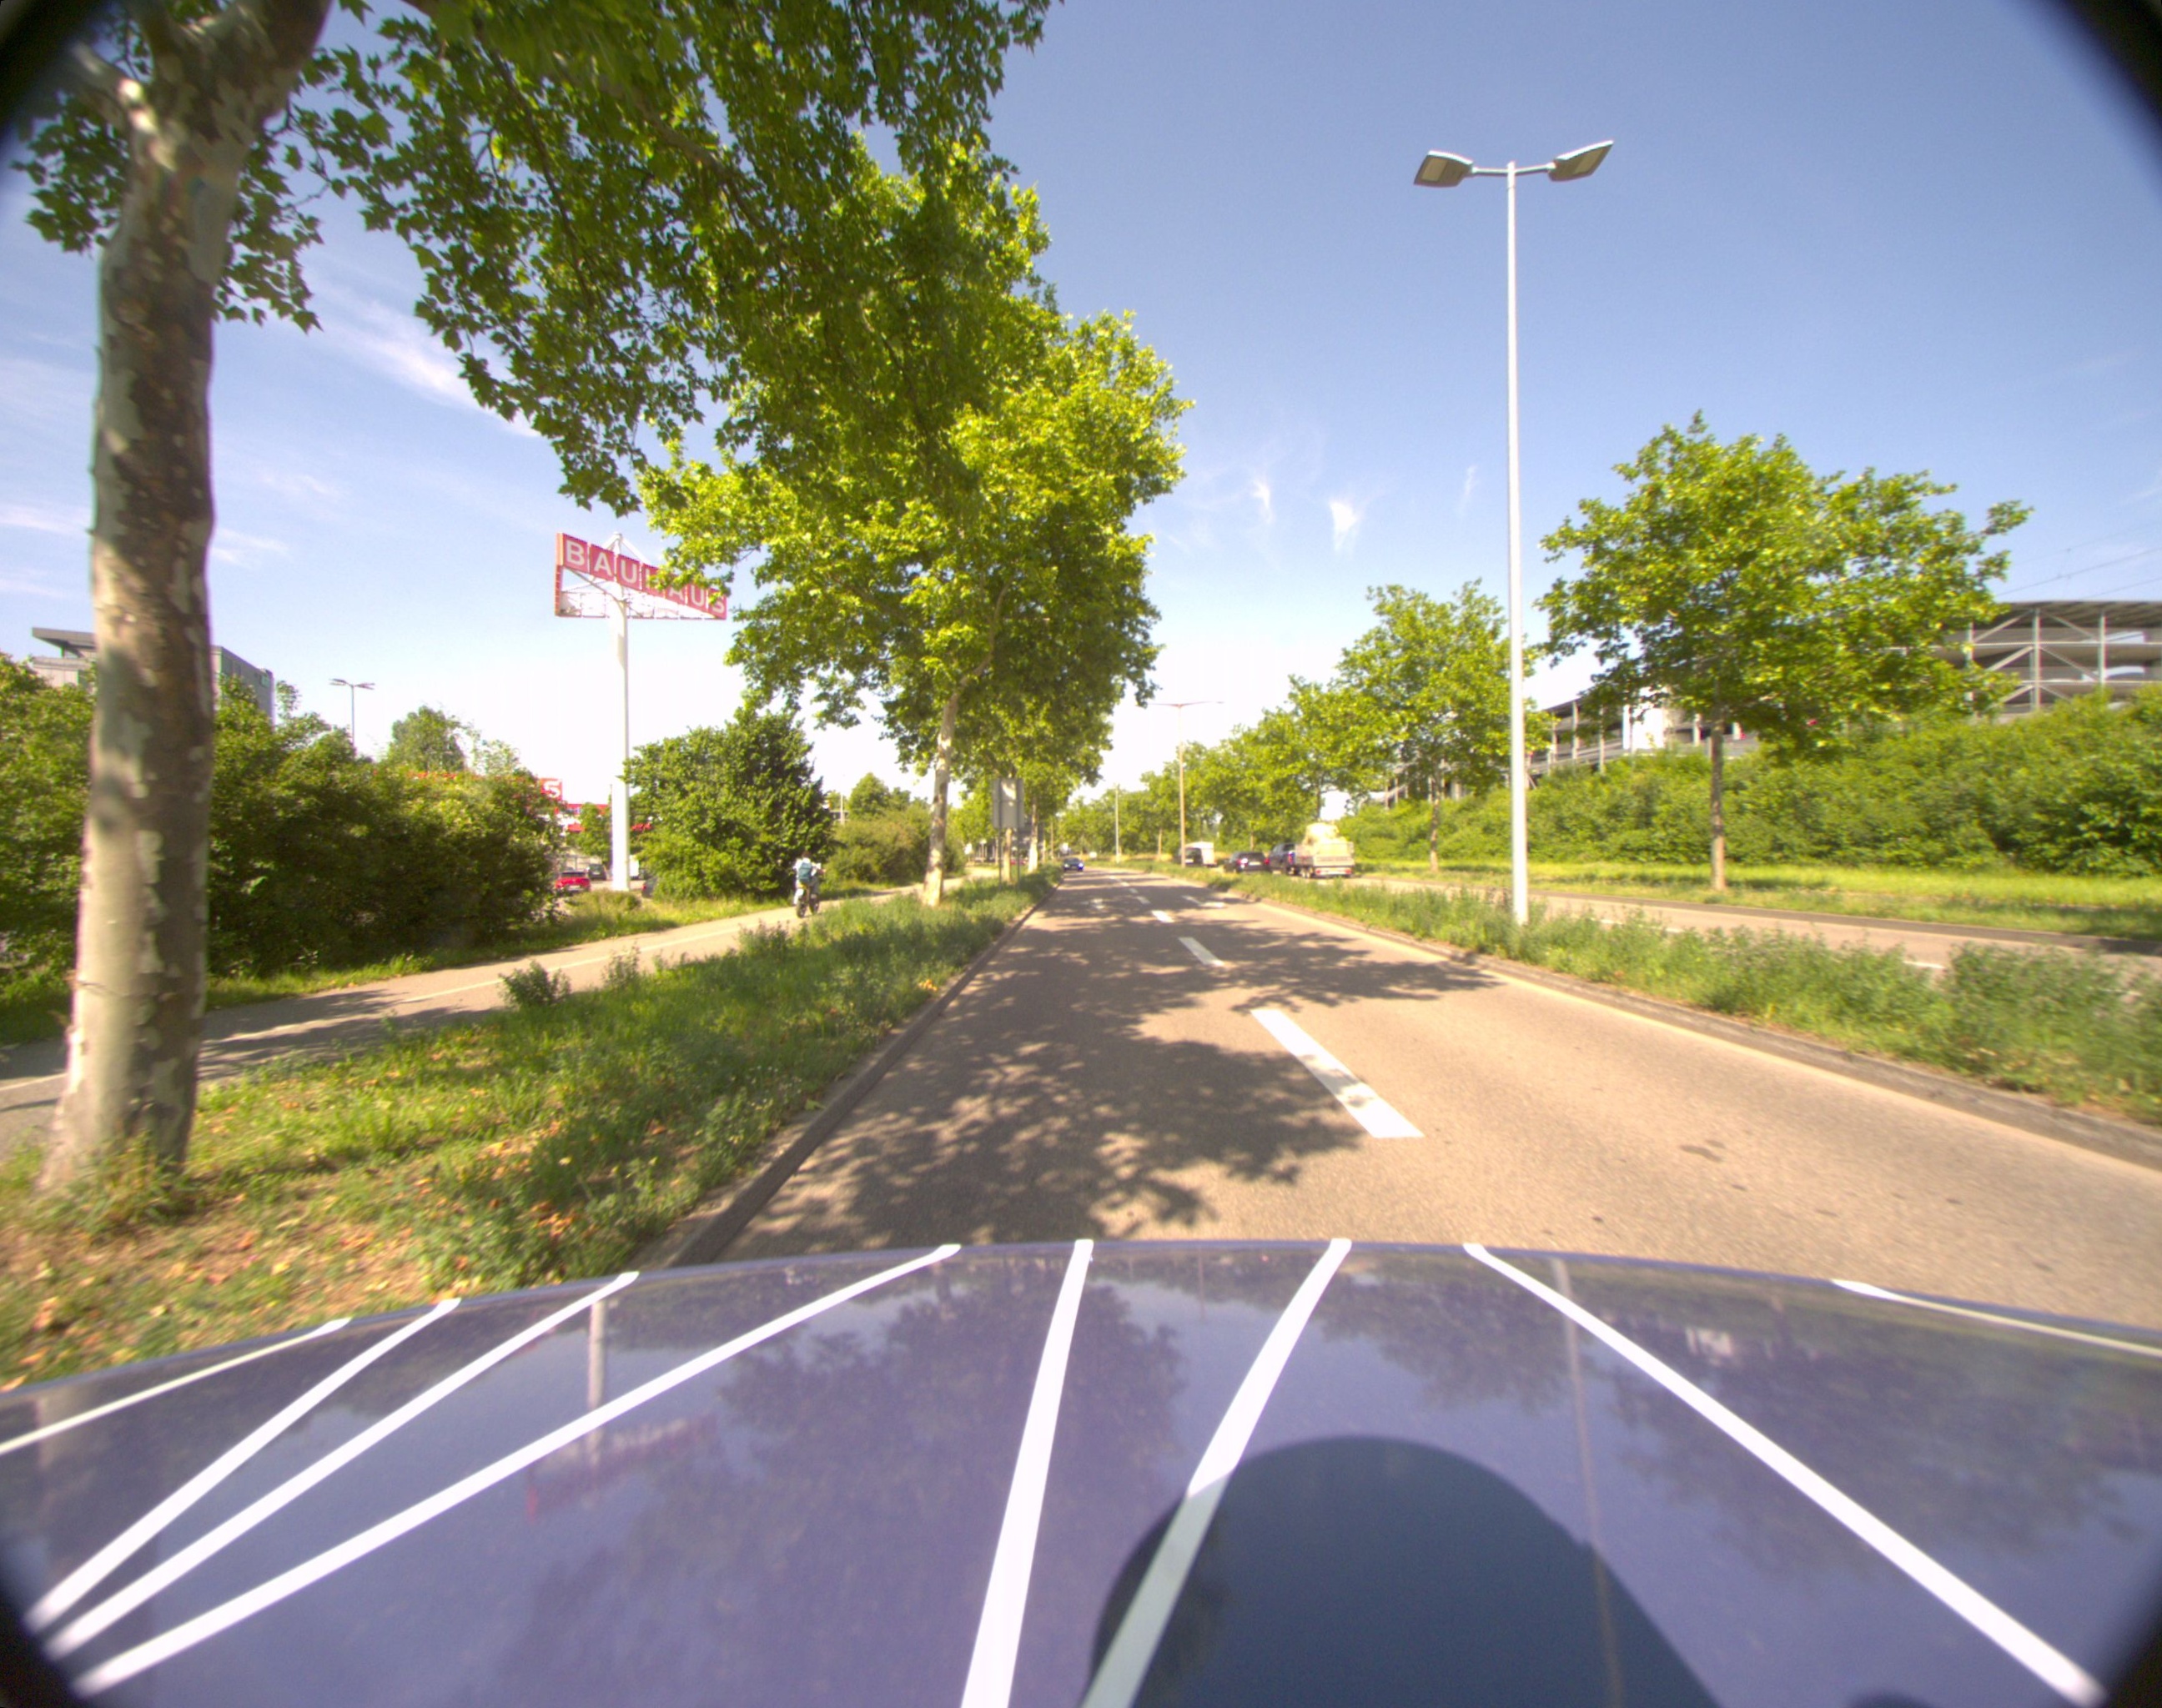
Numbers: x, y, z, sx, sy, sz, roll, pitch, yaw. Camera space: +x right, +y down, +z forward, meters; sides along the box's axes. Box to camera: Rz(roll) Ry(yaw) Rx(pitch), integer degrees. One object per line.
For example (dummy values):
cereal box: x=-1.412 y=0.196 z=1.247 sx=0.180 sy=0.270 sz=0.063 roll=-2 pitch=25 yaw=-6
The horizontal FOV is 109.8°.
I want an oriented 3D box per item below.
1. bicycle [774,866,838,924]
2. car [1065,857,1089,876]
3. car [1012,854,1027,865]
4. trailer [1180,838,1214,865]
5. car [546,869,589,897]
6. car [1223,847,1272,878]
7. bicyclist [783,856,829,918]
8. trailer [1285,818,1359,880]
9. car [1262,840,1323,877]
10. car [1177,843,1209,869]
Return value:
bicycle: x=-6.877 y=0.989 z=19.109 sx=0.724 sy=1.291 sz=2.095 roll=-2 pitch=1 yaw=2
car: x=-0.431 y=1.147 z=71.058 sx=1.722 sy=1.575 sz=3.751 roll=-2 pitch=0 yaw=-7
car: x=-9.616 y=0.838 z=118.194 sx=1.650 sy=1.592 sz=3.598 roll=-2 pitch=0 yaw=-16
trailer: x=10.354 y=-0.237 z=68.349 sx=2.314 sy=2.252 sz=5.538 roll=-1 pitch=1 yaw=2
car: x=-31.082 y=1.690 z=45.964 sx=2.003 sy=1.499 sz=3.989 roll=-2 pitch=1 yaw=-35
car: x=8.514 y=0.418 z=39.173 sx=1.607 sy=1.463 sz=3.789 roll=-2 pitch=1 yaw=0
bicyclist: x=-6.901 y=0.814 z=19.110 sx=0.706 sy=1.469 sz=1.009 roll=-2 pitch=1 yaw=2
trailer: x=11.538 y=-0.252 z=36.749 sx=1.885 sy=2.728 sz=4.827 roll=-3 pitch=1 yaw=0
car: x=11.495 y=0.194 z=41.631 sx=1.769 sy=1.779 sz=5.374 roll=-3 pitch=1 yaw=0
car: x=8.545 y=0.133 z=58.258 sx=1.735 sy=1.799 sz=4.231 roll=-3 pitch=1 yaw=0
